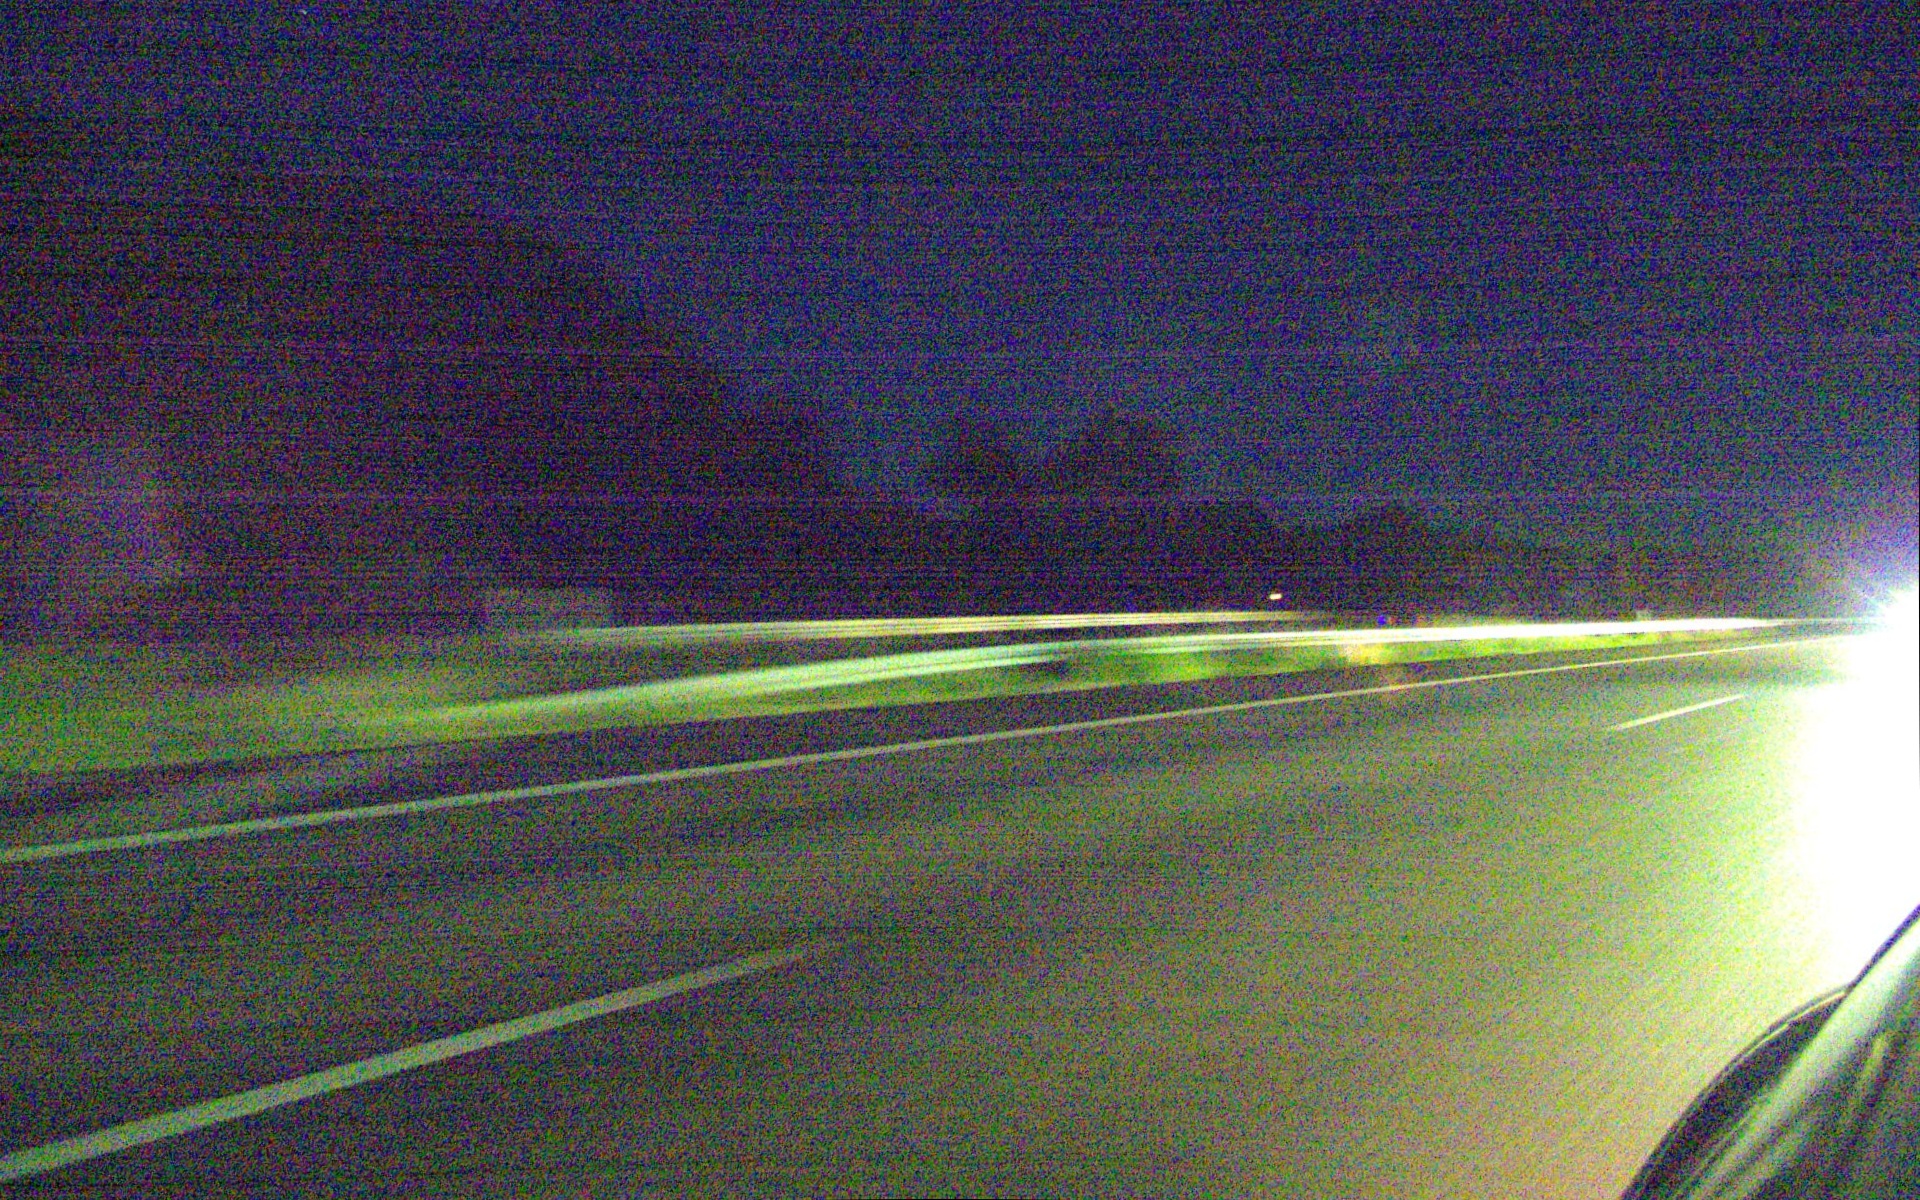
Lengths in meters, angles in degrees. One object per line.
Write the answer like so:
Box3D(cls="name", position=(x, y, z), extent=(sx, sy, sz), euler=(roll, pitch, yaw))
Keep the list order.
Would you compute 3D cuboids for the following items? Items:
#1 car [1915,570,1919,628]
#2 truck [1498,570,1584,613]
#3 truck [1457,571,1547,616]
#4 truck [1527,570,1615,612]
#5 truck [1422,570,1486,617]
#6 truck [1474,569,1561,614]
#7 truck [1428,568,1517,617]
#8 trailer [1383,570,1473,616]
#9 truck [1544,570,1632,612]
Box3D(cls="car", position=(51.694, -0.032, 52.414), extent=(6.116, 2.942, 2.533), euler=(0, 0, -40))
Box3D(cls="truck", position=(56.607, -0.798, 98.960), extent=(3.003, 3.974, 9.659), euler=(-1, 0, 1))
Box3D(cls="truck", position=(48.591, -0.555, 91.138), extent=(3.003, 3.734, 9.659), euler=(-1, 0, 1))
Box3D(cls="truck", position=(60.144, -0.849, 100.022), extent=(2.905, 3.974, 9.659), euler=(-1, 0, 1))
Box3D(cls="truck", position=(40.585, -0.502, 83.394), extent=(2.487, 3.695, 6.204), euler=(-1, 0, 4))
Box3D(cls="truck", position=(52.411, -0.735, 95.566), extent=(3.003, 3.974, 9.659), euler=(-1, 0, 1))
Box3D(cls="truck", position=(44.614, -0.616, 88.494), extent=(3.003, 3.974, 9.659), euler=(-1, 0, 1))
Box3D(cls="trailer", position=(40.929, -0.560, 89.192), extent=(2.497, 3.711, 12.985), euler=(-1, 0, 3))
Box3D(cls="truck", position=(63.455, -0.899, 102.645), extent=(3.003, 3.974, 9.659), euler=(-1, 0, 1))
